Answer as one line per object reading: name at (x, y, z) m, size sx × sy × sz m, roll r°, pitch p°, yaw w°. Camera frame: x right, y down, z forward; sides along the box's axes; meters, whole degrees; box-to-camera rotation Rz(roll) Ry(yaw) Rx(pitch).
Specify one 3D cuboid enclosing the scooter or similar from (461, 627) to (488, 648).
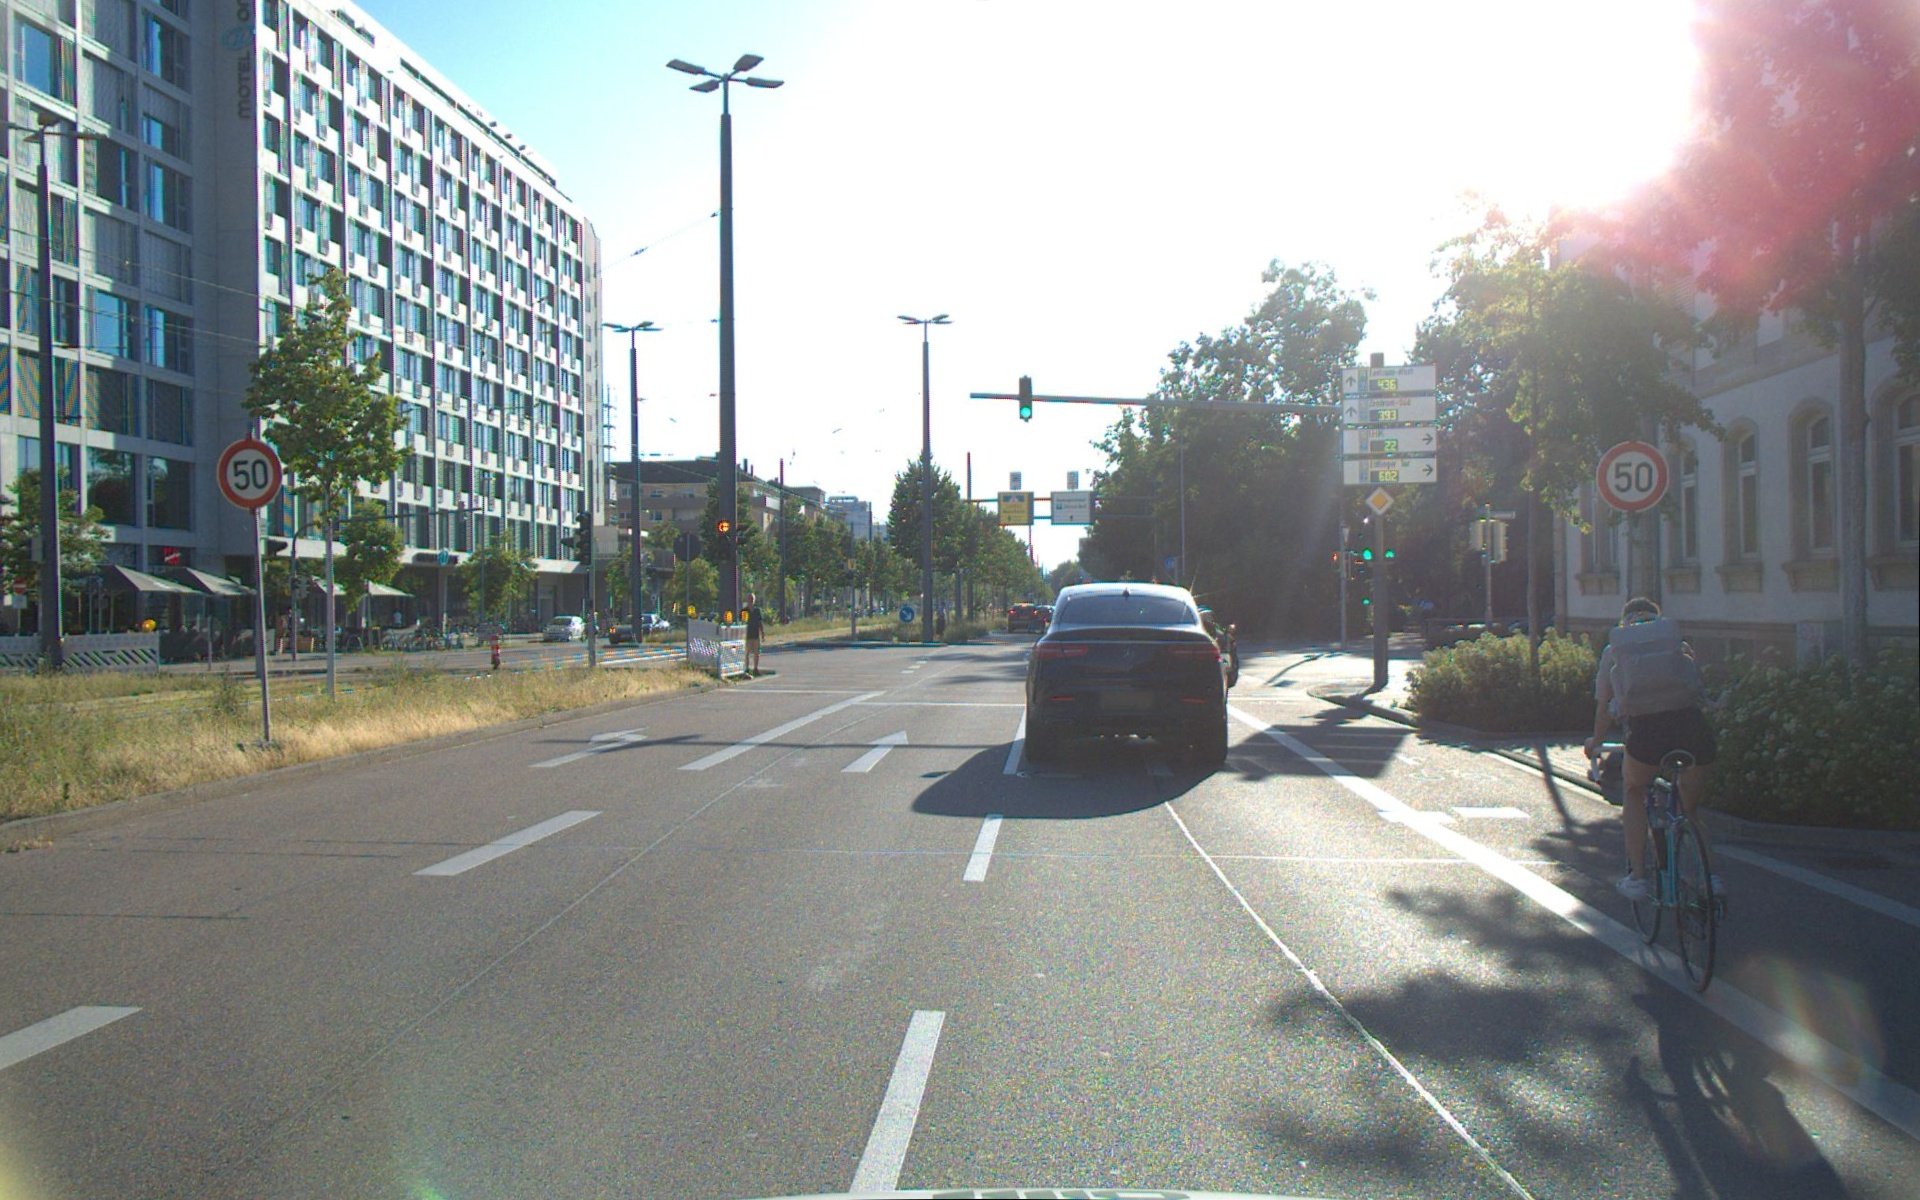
scooter or similar at (-24.725, 1.916, 84.203) m, size 1.217 × 1.037 × 0.435 m, roll -1°, pitch 0°, yaw 5°

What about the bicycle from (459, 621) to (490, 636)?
bicycle at (-30.588, 1.816, 104.211) m, size 1.768 × 0.921 × 0.511 m, roll -1°, pitch -1°, yaw -2°

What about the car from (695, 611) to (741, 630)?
car at (-20.854, 1.791, 142.432) m, size 3.586 × 1.550 × 1.600 m, roll 2°, pitch -1°, yaw -37°

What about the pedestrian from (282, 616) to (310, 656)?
pedestrian at (-29.296, 1.573, 72.968) m, size 0.851 × 1.752 × 0.804 m, roll -1°, pitch 0°, yaw 14°

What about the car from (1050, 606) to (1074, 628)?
car at (8.073, 1.328, 131.286) m, size 1.846 × 1.608 × 4.002 m, roll 0°, pitch 0°, yaw 4°

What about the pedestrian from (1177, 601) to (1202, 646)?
pedestrian at (8.861, 0.904, 63.833) m, size 0.751 × 1.665 × 0.769 m, roll -3°, pitch 0°, yaw -5°

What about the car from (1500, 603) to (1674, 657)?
car at (18.202, 0.886, 48.059) m, size 4.500 × 1.500 × 1.900 m, roll -1°, pitch -1°, yaw 29°

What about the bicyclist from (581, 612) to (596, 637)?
bicyclist at (-21.833, 1.433, 97.277) m, size 0.611 × 1.490 × 0.851 m, roll -1°, pitch -1°, yaw 5°

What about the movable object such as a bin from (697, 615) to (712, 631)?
movable object such as a bin at (-20.606, 1.832, 133.575) m, size 0.840 × 1.303 × 0.940 m, roll -1°, pitch -1°, yaw 19°

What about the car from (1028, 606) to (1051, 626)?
car at (6.770, 1.332, 140.654) m, size 1.846 × 1.608 × 4.002 m, roll 0°, pitch 0°, yaw 4°

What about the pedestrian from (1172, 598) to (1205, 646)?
pedestrian at (8.943, 0.849, 64.865) m, size 0.848 × 1.833 × 0.898 m, roll -2°, pitch 0°, yaw -30°

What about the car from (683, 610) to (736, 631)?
car at (-21.057, 1.759, 138.969) m, size 4.051 × 1.629 × 1.727 m, roll 2°, pitch 0°, yaw -37°

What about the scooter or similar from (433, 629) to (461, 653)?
scooter or similar at (-25.309, 2.019, 81.597) m, size 1.217 × 1.192 × 0.406 m, roll -1°, pitch 0°, yaw 5°

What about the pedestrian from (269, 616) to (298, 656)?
pedestrian at (-29.458, 1.570, 72.070) m, size 0.851 × 1.752 × 0.804 m, roll -1°, pitch 0°, yaw 14°

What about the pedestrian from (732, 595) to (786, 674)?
pedestrian at (-4.311, 0.737, 35.556) m, size 0.904 × 1.678 × 0.766 m, roll -1°, pitch -1°, yaw 16°

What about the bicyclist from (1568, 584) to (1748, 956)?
bicyclist at (3.058, 0.691, 7.321) m, size 0.540 × 1.517 × 1.082 m, roll -1°, pitch 0°, yaw 13°

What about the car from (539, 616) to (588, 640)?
car at (-23.802, 1.672, 99.463) m, size 1.720 × 1.351 × 4.002 m, roll 1°, pitch 0°, yaw 5°

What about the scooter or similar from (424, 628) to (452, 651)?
scooter or similar at (-25.142, 1.902, 79.674) m, size 1.217 × 1.037 × 0.435 m, roll -1°, pitch 0°, yaw 5°

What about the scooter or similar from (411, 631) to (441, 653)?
scooter or similar at (-25.230, 1.987, 78.149) m, size 1.217 × 1.037 × 0.511 m, roll -1°, pitch 0°, yaw 5°

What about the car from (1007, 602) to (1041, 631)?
car at (3.713, 0.942, 95.676) m, size 1.846 × 1.608 × 4.002 m, roll 0°, pitch 0°, yaw 4°

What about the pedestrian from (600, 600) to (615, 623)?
pedestrian at (-26.904, 0.874, 126.119) m, size 0.825 × 1.682 × 0.970 m, roll -1°, pitch 0°, yaw 6°

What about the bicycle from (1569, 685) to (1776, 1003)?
bicycle at (3.090, 0.987, 7.316) m, size 0.509 × 1.116 × 1.844 m, roll -1°, pitch 0°, yaw 13°

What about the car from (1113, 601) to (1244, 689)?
car at (4.239, 0.809, 31.577) m, size 1.857 × 1.554 × 4.061 m, roll 0°, pitch 0°, yaw 16°

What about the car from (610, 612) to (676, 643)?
car at (-14.843, 1.263, 77.660) m, size 1.851 × 1.367 × 4.852 m, roll -1°, pitch 0°, yaw 4°

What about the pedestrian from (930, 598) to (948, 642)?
pedestrian at (-0.849, 0.808, 66.103) m, size 0.585 × 1.729 × 0.714 m, roll -1°, pitch 0°, yaw 9°

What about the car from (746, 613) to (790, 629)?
car at (-19.413, 2.140, 167.174) m, size 3.958 × 1.590 × 1.973 m, roll 1°, pitch 0°, yaw -38°

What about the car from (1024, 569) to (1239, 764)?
car at (1.810, 0.586, 17.157) m, size 1.951 × 1.765 × 4.003 m, roll 0°, pitch 0°, yaw 7°

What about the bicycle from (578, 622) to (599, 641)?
bicycle at (-21.829, 1.860, 97.259) m, size 0.611 × 1.085 × 2.079 m, roll -1°, pitch 0°, yaw 5°
